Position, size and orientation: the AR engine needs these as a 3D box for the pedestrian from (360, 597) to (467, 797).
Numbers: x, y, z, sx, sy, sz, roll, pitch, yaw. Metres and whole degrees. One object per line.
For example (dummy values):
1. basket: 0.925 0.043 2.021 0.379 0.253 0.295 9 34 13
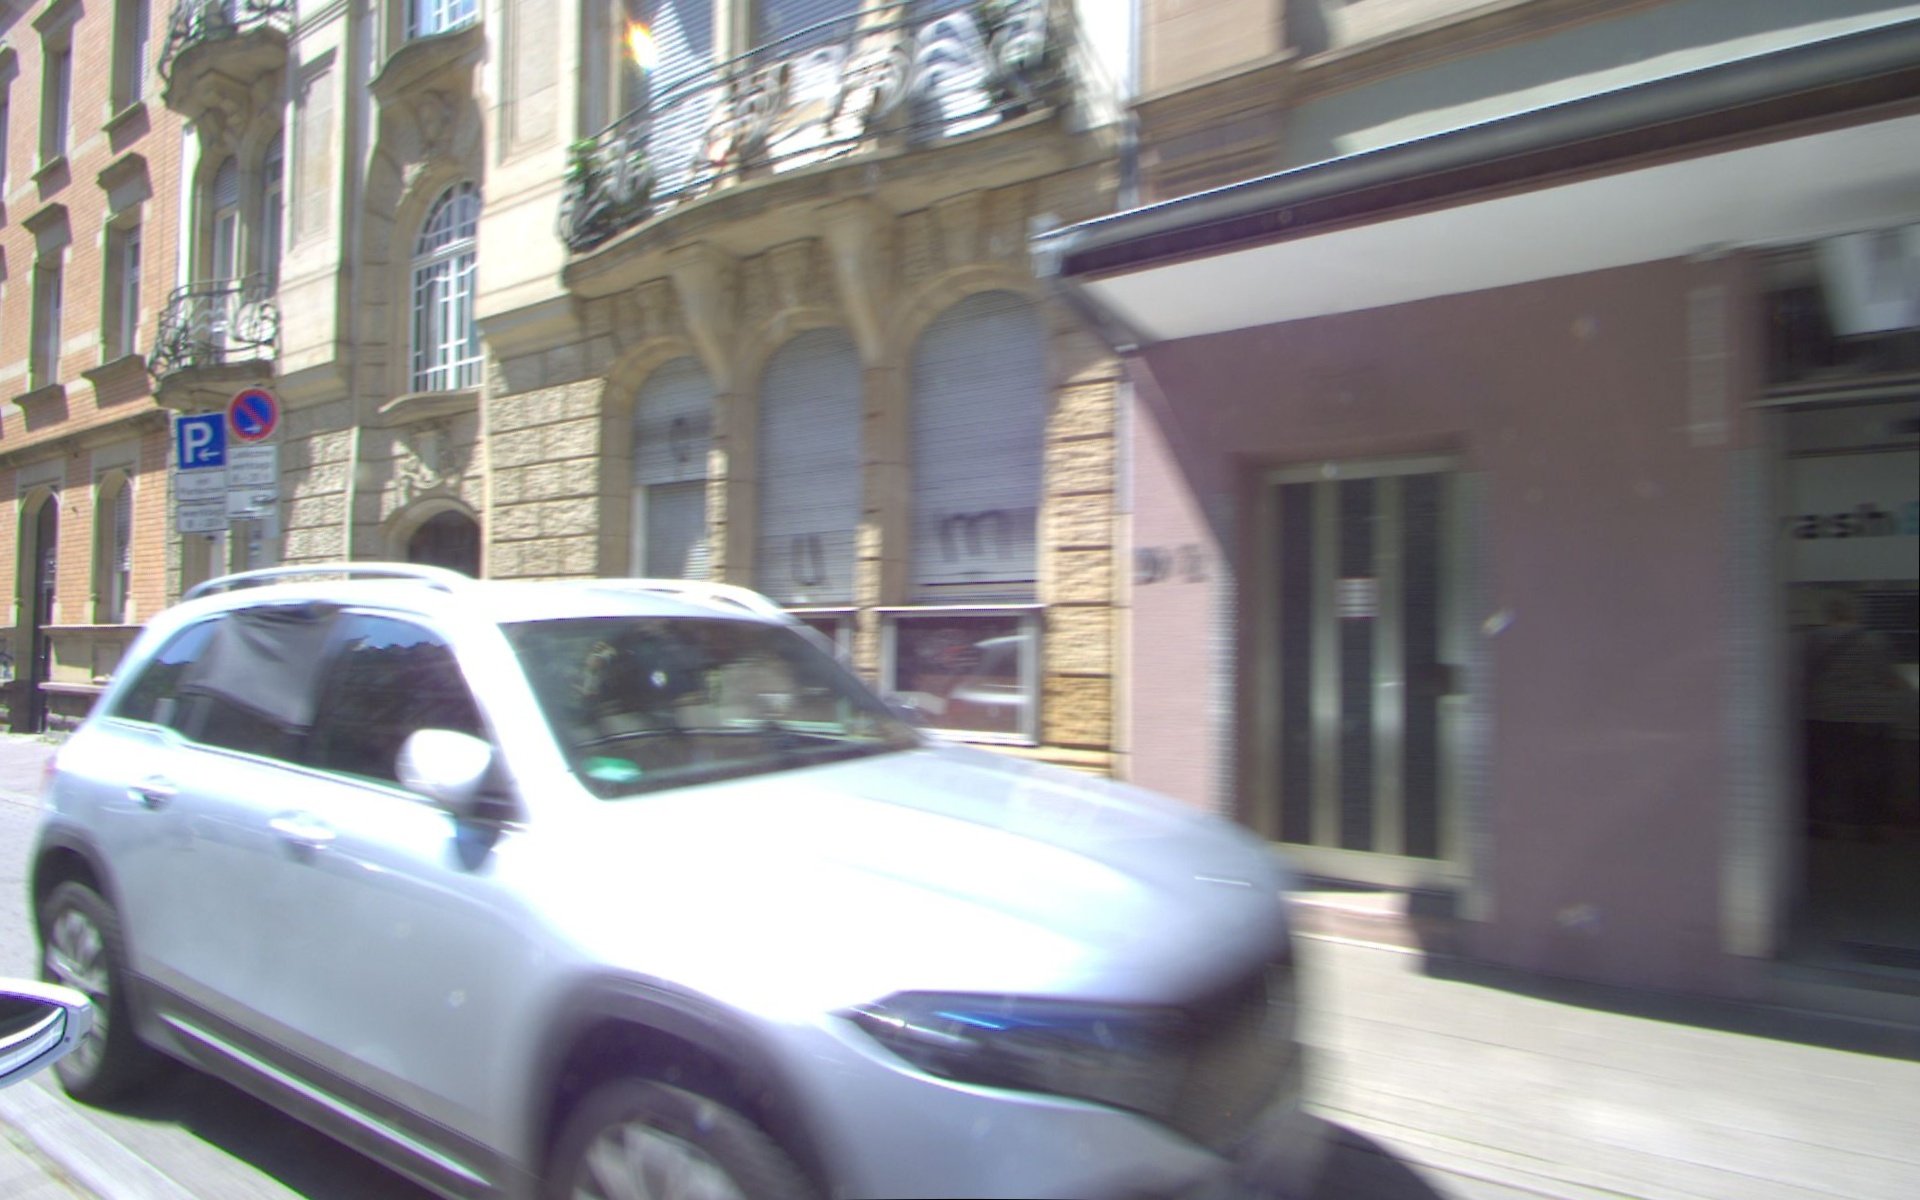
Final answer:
1. pedestrian: -5.061 0.872 9.285 0.737 1.773 0.512 1 -1 25

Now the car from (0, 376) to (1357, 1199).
1. car: -1.241 0.657 3.250 4.441 1.735 1.868 -1 -2 33

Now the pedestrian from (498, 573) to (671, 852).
1. pedestrian: -2.395 0.686 6.415 0.792 1.643 0.640 0 -3 32
